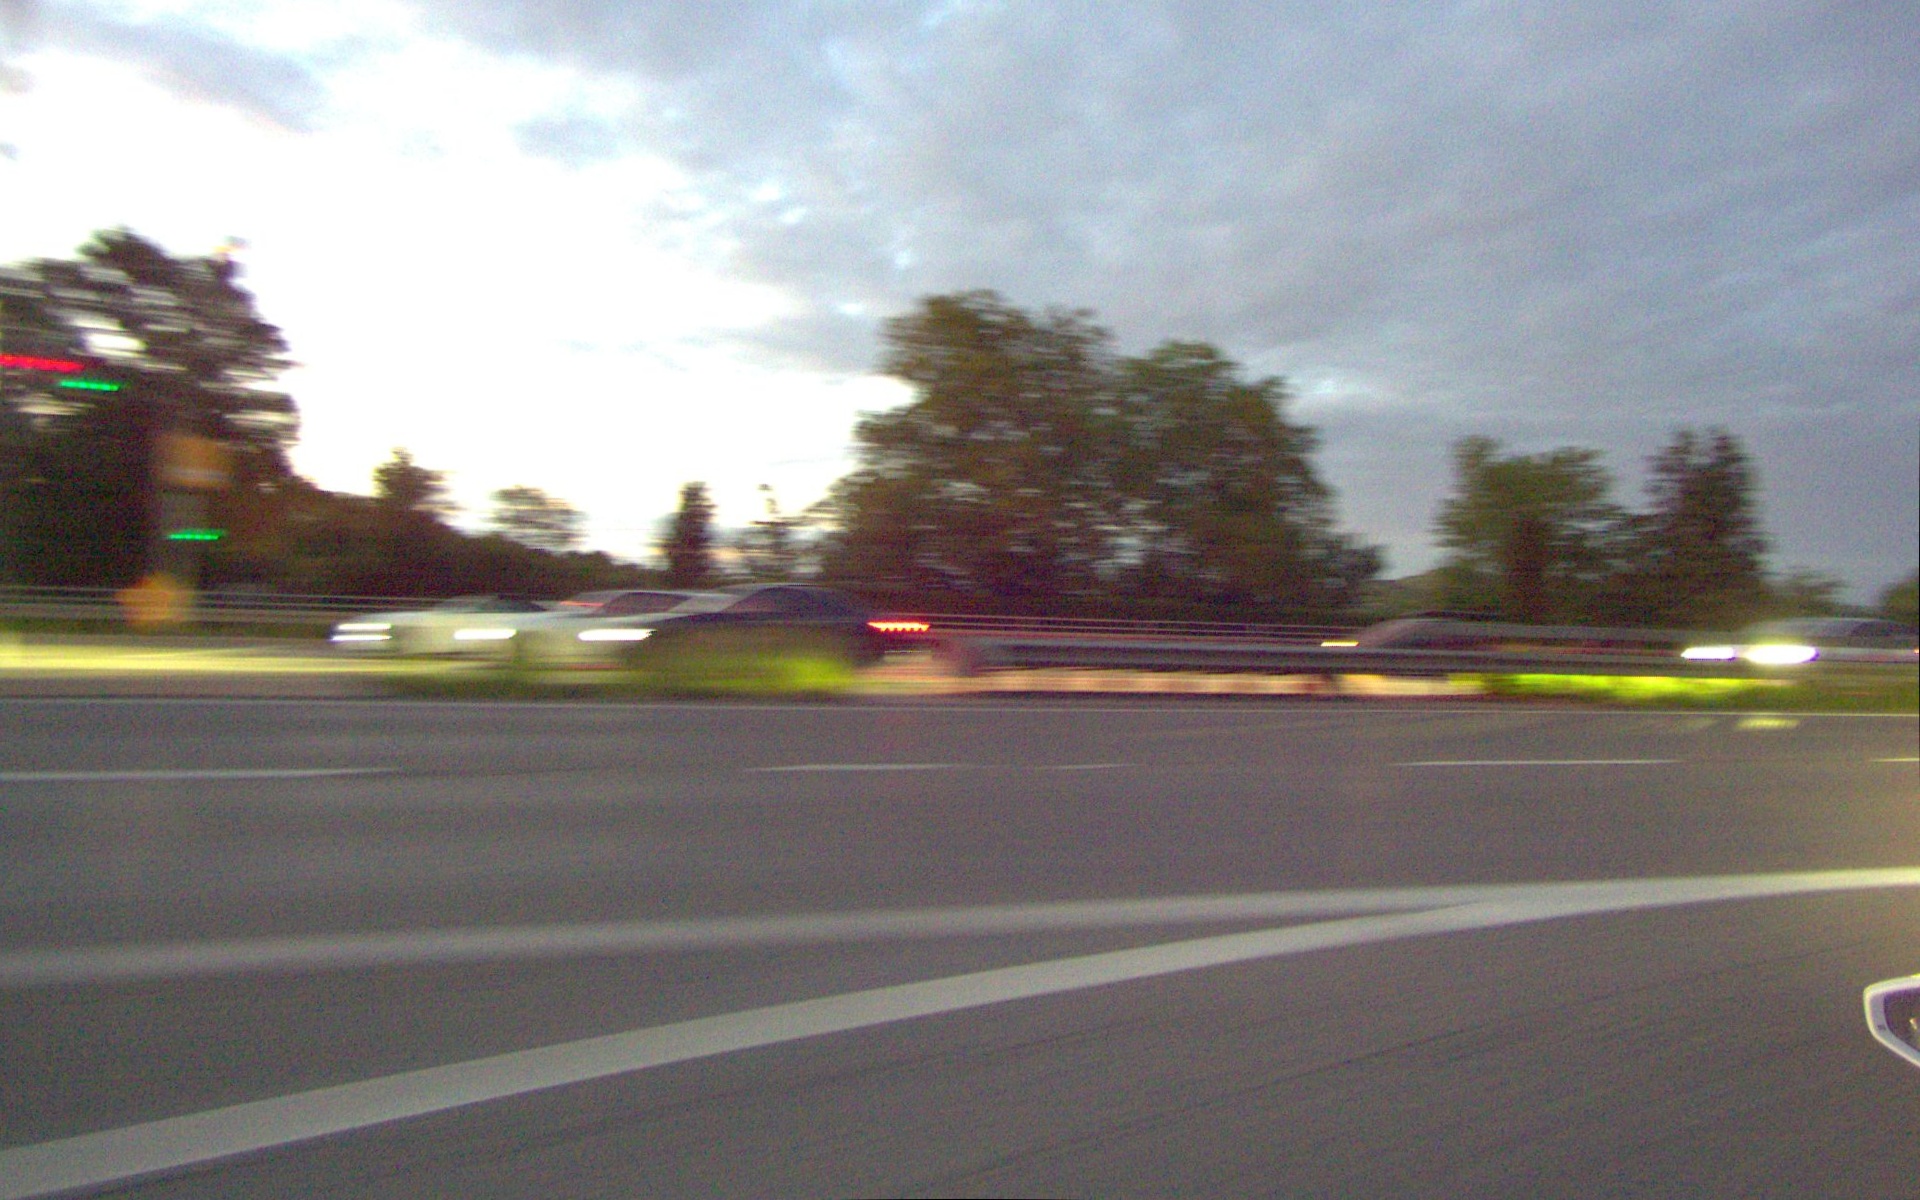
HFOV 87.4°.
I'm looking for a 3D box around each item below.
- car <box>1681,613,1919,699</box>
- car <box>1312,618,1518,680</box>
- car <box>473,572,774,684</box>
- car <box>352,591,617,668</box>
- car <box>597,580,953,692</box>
[{"bbox_3d":[17.493,1.130,20.415,4.739,1.590,1.995,2,-2,-13],"label":"car"},{"bbox_3d":[11.769,1.259,26.066,4.654,1.472,1.995,2,-1,-14],"label":"car"},{"bbox_3d":[-5.892,0.527,18.057,4.794,1.704,1.994,3,-1,-16],"label":"car"},{"bbox_3d":[-9.697,0.626,20.912,4.655,1.472,1.994,1,-1,-15],"label":"car"},{"bbox_3d":[-2.750,0.567,15.276,4.961,1.472,1.995,2,-2,-13],"label":"car"}]
